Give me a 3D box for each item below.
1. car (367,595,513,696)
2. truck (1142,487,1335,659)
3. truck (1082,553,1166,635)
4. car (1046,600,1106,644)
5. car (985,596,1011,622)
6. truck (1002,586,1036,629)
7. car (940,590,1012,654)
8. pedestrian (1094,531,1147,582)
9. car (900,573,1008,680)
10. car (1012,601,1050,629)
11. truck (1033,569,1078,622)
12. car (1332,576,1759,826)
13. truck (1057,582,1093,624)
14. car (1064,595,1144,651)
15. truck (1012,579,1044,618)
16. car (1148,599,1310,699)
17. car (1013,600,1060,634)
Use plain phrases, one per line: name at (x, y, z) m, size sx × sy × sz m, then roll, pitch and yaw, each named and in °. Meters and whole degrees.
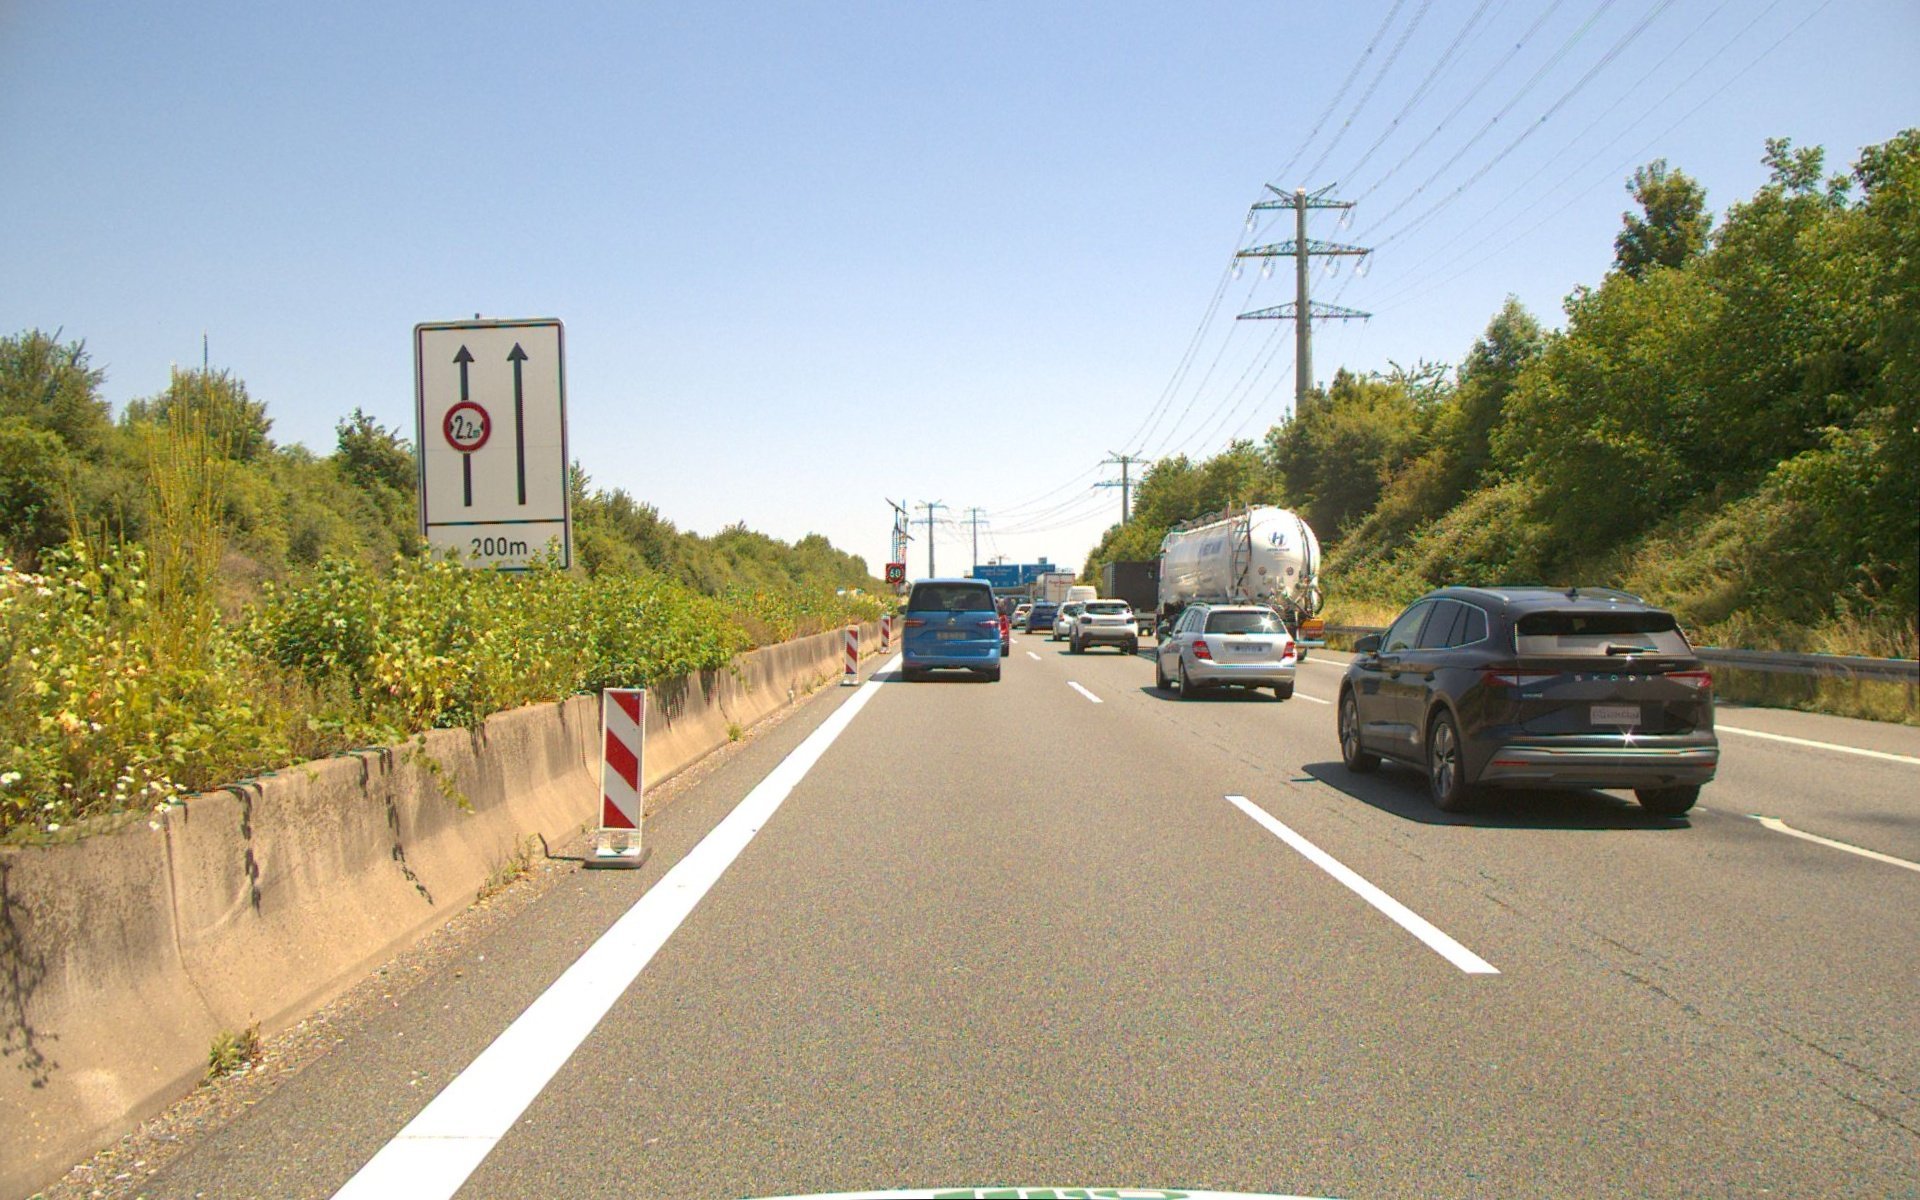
car at (-11.359, 0.933, 36.423) m, size 1.922 × 2.049 × 4.409 m, roll -1°, pitch 0°, yaw -2°
truck at (7.680, -0.621, 48.452) m, size 2.591 × 4.143 × 16.437 m, roll 1°, pitch 0°, yaw -1°
truck at (7.732, -0.230, 79.571) m, size 2.591 × 3.601 × 12.549 m, roll 1°, pitch 0°, yaw -1°
car at (4.440, 0.831, 63.951) m, size 1.870 × 1.597 × 4.382 m, roll 1°, pitch 0°, yaw -2°
car at (3.072, 0.691, 134.072) m, size 1.953 × 2.049 × 3.999 m, roll 1°, pitch 0°, yaw -1°
truck at (3.902, 0.493, 110.751) m, size 1.953 × 2.771 × 5.679 m, roll 1°, pitch 0°, yaw -1°
car at (0.398, 0.593, 45.621) m, size 1.870 × 1.659 × 4.382 m, roll 0°, pitch 0°, yaw -1°
pedestrian at (6.937, -1.873, 71.803) m, size 1.952 × 2.049 × 4.000 m, roll 1°, pitch 0°, yaw 0°
car at (-0.193, 0.494, 32.113) m, size 1.834 × 1.912 × 4.380 m, roll 1°, pitch 0°, yaw -3°
car at (4.069, 0.857, 95.964) m, size 1.870 × 1.542 × 4.382 m, roll 1°, pitch 0°, yaw -2°
truck at (8.116, -0.343, 142.271) m, size 2.878 × 4.366 × 12.549 m, roll 1°, pitch 0°, yaw -1°
car at (4.381, 0.669, 13.180) m, size 1.791 × 1.643 × 4.430 m, roll 0°, pitch 0°, yaw -1°
truck at (7.753, 0.210, 112.114) m, size 1.953 × 2.771 × 5.679 m, roll 1°, pitch 0°, yaw -1°
car at (4.121, 0.639, 47.861) m, size 1.870 × 1.534 × 3.920 m, roll 1°, pitch 0°, yaw -2°
truck at (7.807, -0.143, 191.068) m, size 2.878 × 4.366 × 12.549 m, roll 1°, pitch 0°, yaw -1°
car at (4.260, 0.733, 26.863) m, size 1.784 × 1.462 × 4.382 m, roll 1°, pitch 0°, yaw -2°
car at (3.595, 0.792, 78.489) m, size 1.870 × 1.542 × 4.382 m, roll 1°, pitch 0°, yaw -2°
